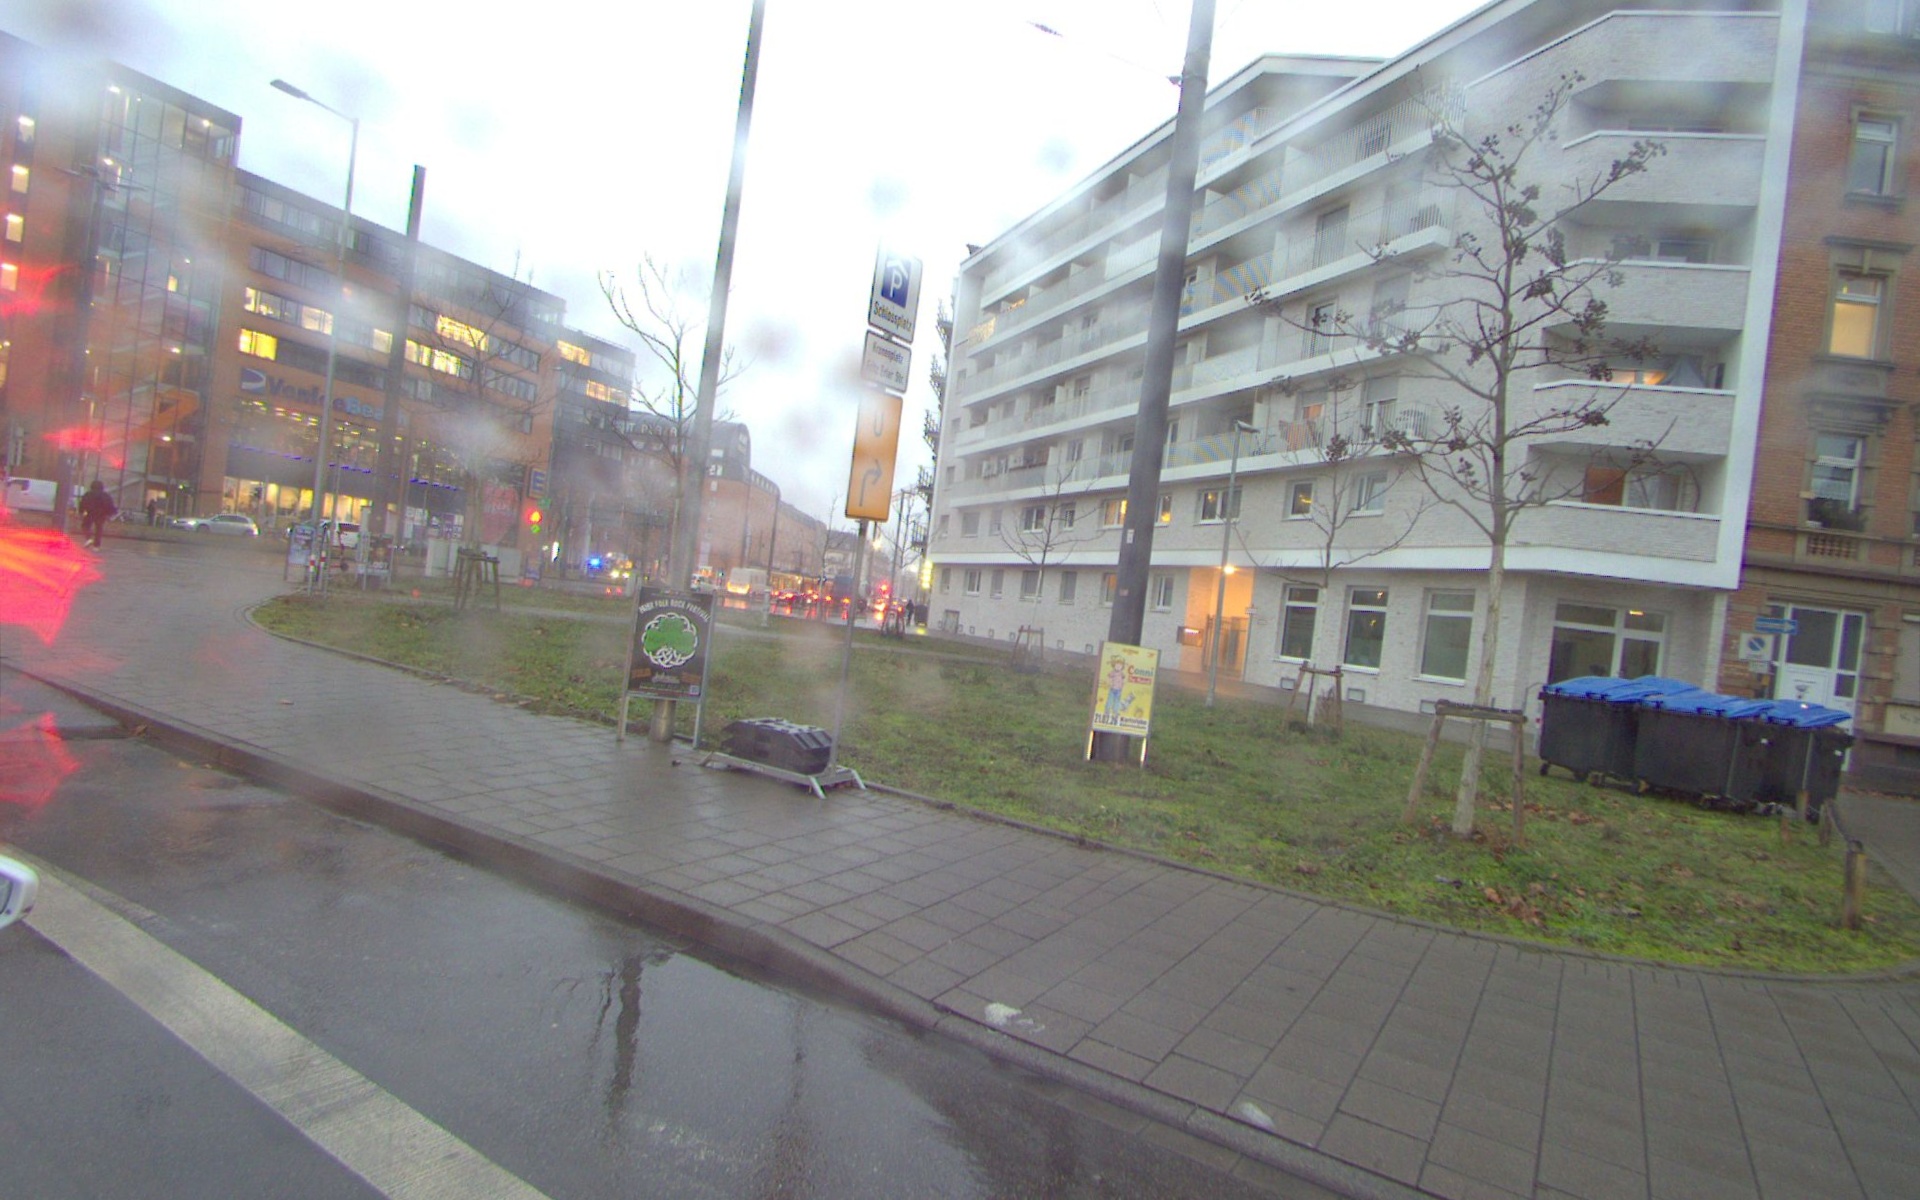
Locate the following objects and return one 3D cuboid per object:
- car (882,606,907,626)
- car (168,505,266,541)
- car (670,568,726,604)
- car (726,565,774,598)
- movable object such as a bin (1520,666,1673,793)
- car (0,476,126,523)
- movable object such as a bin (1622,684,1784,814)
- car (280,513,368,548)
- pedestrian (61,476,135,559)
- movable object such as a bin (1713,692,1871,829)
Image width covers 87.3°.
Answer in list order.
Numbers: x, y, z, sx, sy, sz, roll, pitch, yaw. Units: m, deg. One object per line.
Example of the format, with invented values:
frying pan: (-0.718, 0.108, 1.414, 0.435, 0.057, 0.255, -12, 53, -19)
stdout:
car: (-6.878, 1.695, 105.774, 1.662, 1.636, 3.470, 8, -2, 10)
car: (-43.643, -4.503, 59.177, 1.767, 1.406, 4.227, 7, -1, 25)
car: (-19.873, -1.040, 76.488, 1.963, 2.036, 4.003, 8, -2, 22)
car: (-17.511, -1.538, 84.197, 1.962, 2.036, 4.957, 8, -2, 11)
movable object such as a bin: (8.961, 1.804, 14.209, 1.017, 1.514, 1.322, 7, 1, -22)
car: (-46.425, -5.185, 52.177, 1.767, 1.614, 4.431, 7, -1, 25)
movable object such as a bin: (9.583, 1.907, 13.026, 1.003, 1.434, 1.218, 6, 1, -21)
car: (-41.327, -4.493, 65.478, 1.767, 1.553, 4.444, 7, -1, 25)
pedestrian: (-22.888, -2.172, 26.739, 1.164, 1.946, 0.890, 10, -2, -35)
movable object such as a bin: (10.778, 2.054, 13.069, 1.021, 1.507, 1.039, 9, -2, -12)
